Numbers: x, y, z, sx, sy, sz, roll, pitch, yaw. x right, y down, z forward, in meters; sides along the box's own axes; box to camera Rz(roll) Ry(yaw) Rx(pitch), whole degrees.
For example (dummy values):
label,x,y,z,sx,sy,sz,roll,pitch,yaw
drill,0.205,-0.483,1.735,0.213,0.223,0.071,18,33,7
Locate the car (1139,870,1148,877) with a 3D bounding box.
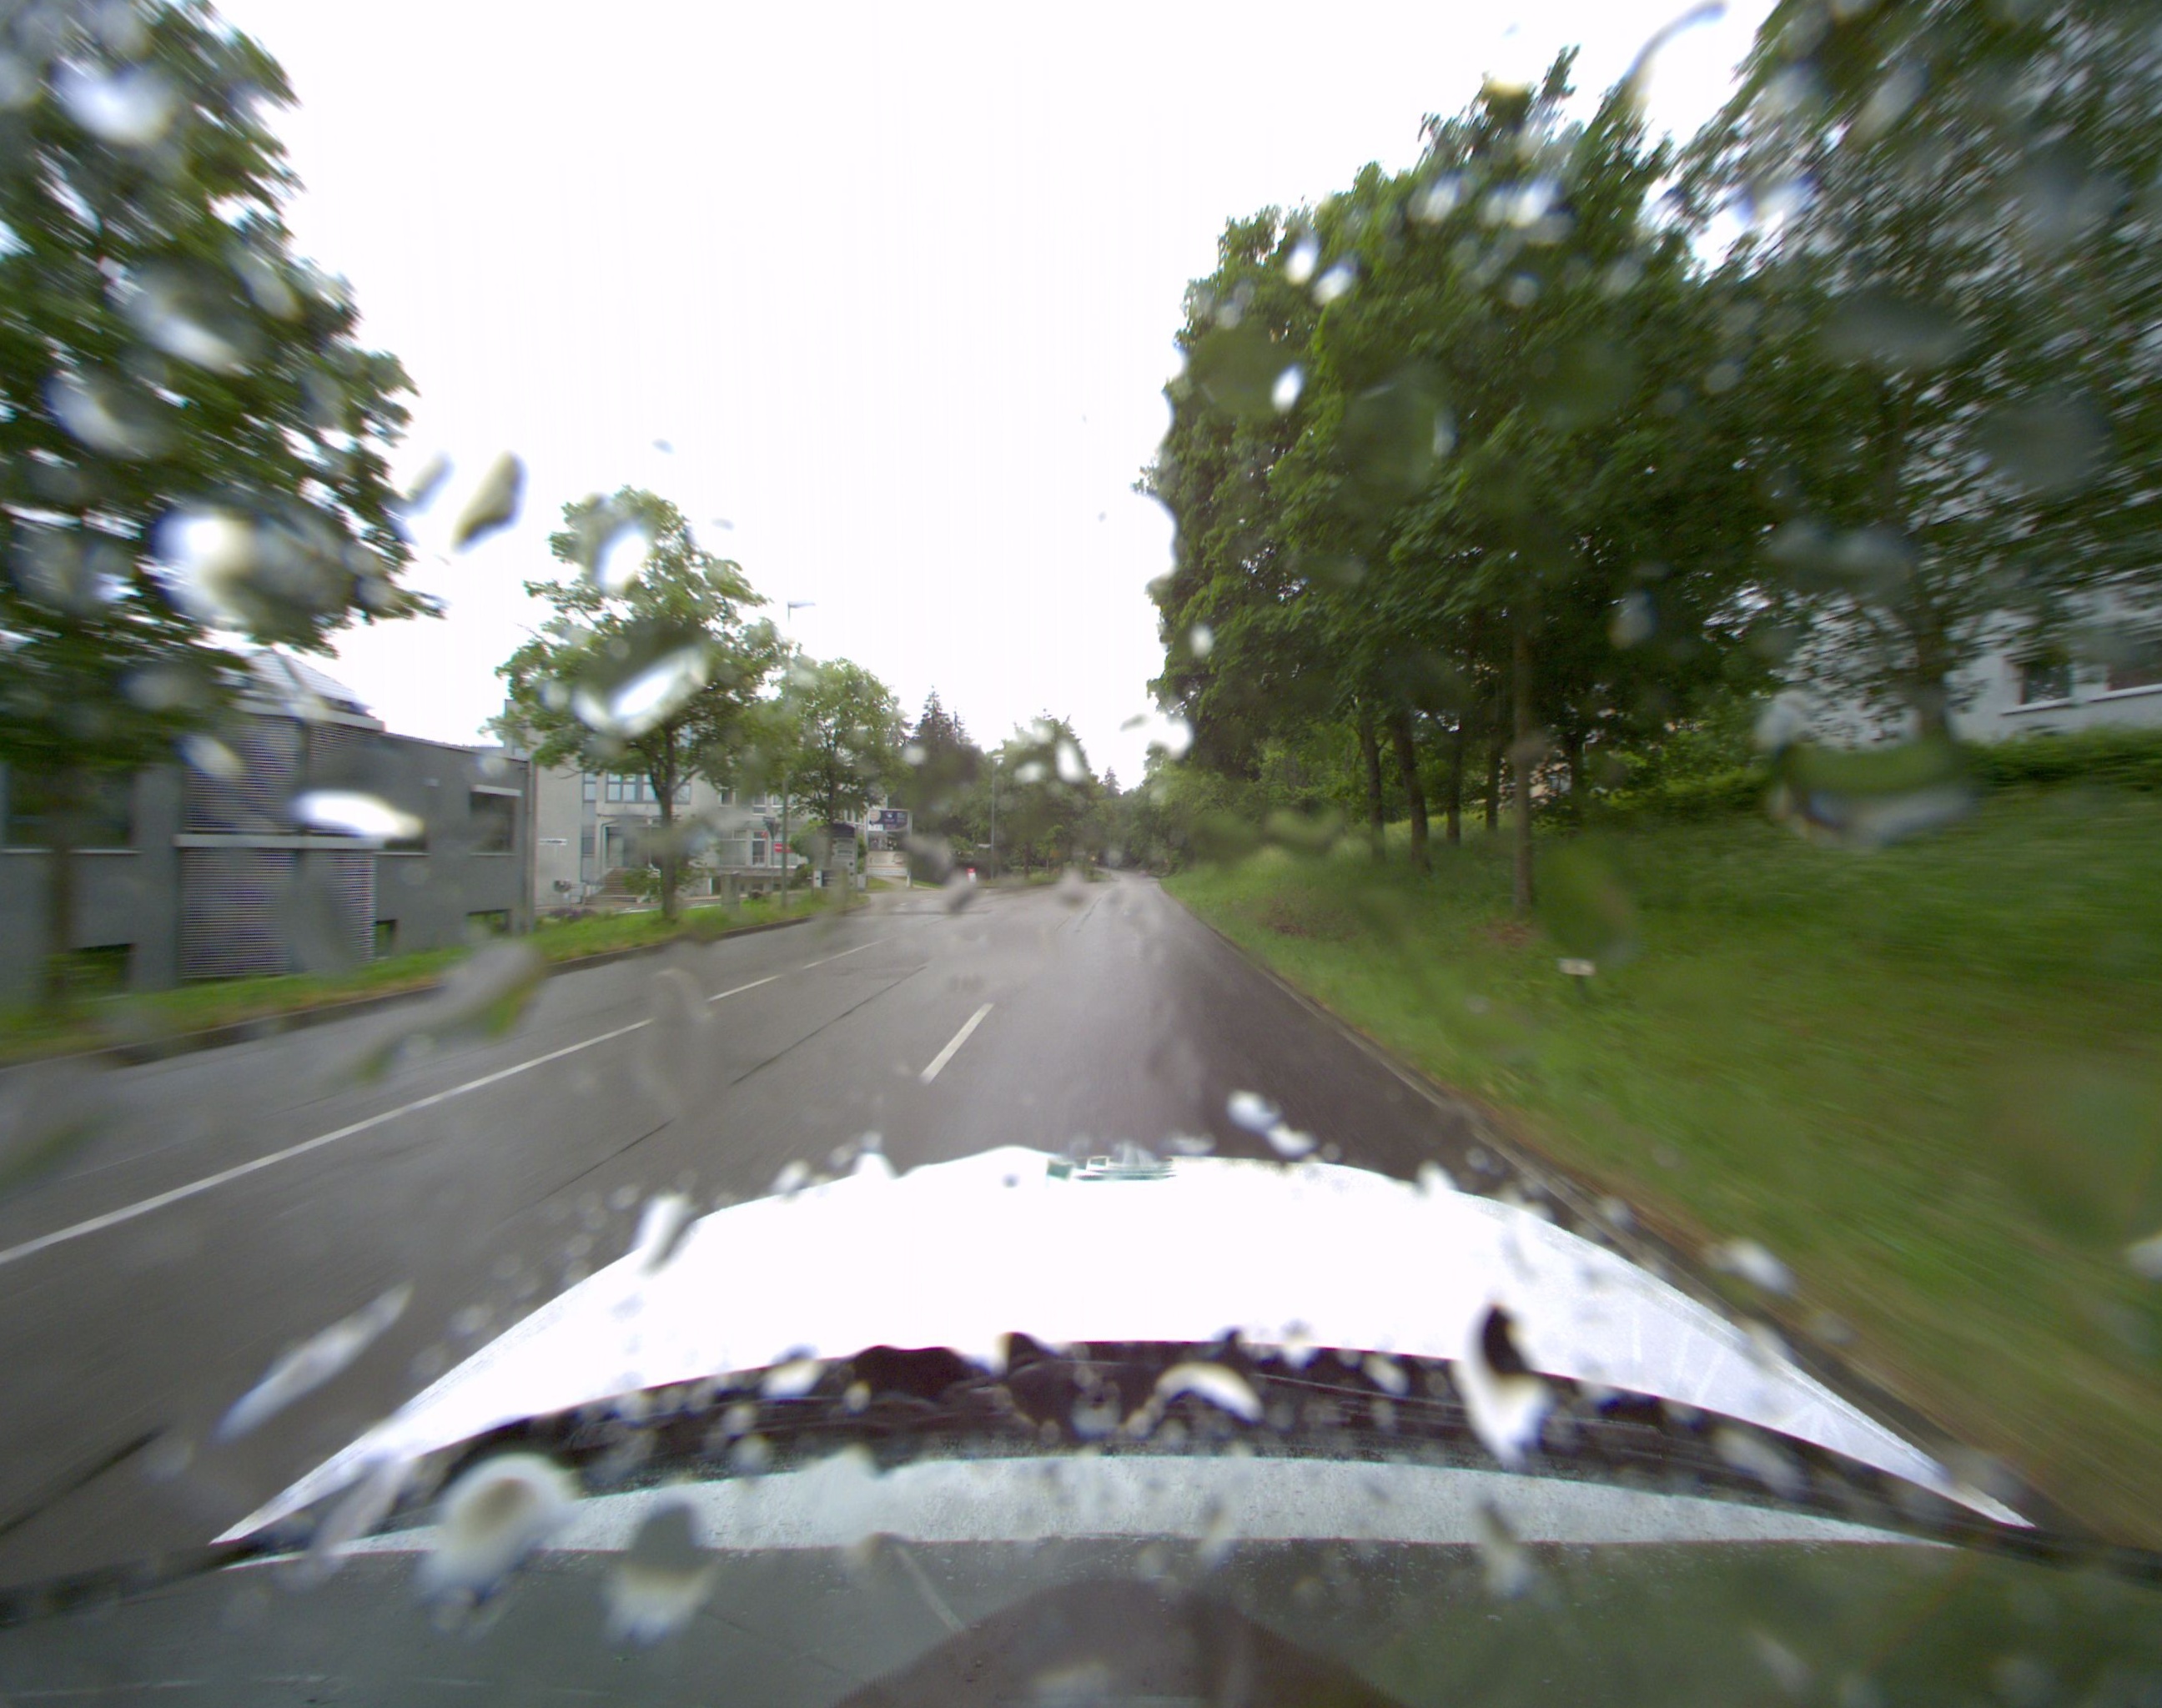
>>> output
label,x,y,z,sx,sy,sz,roll,pitch,yaw
car,12.738,4.005,167.282,1.729,1.510,4.003,-2,-1,3
